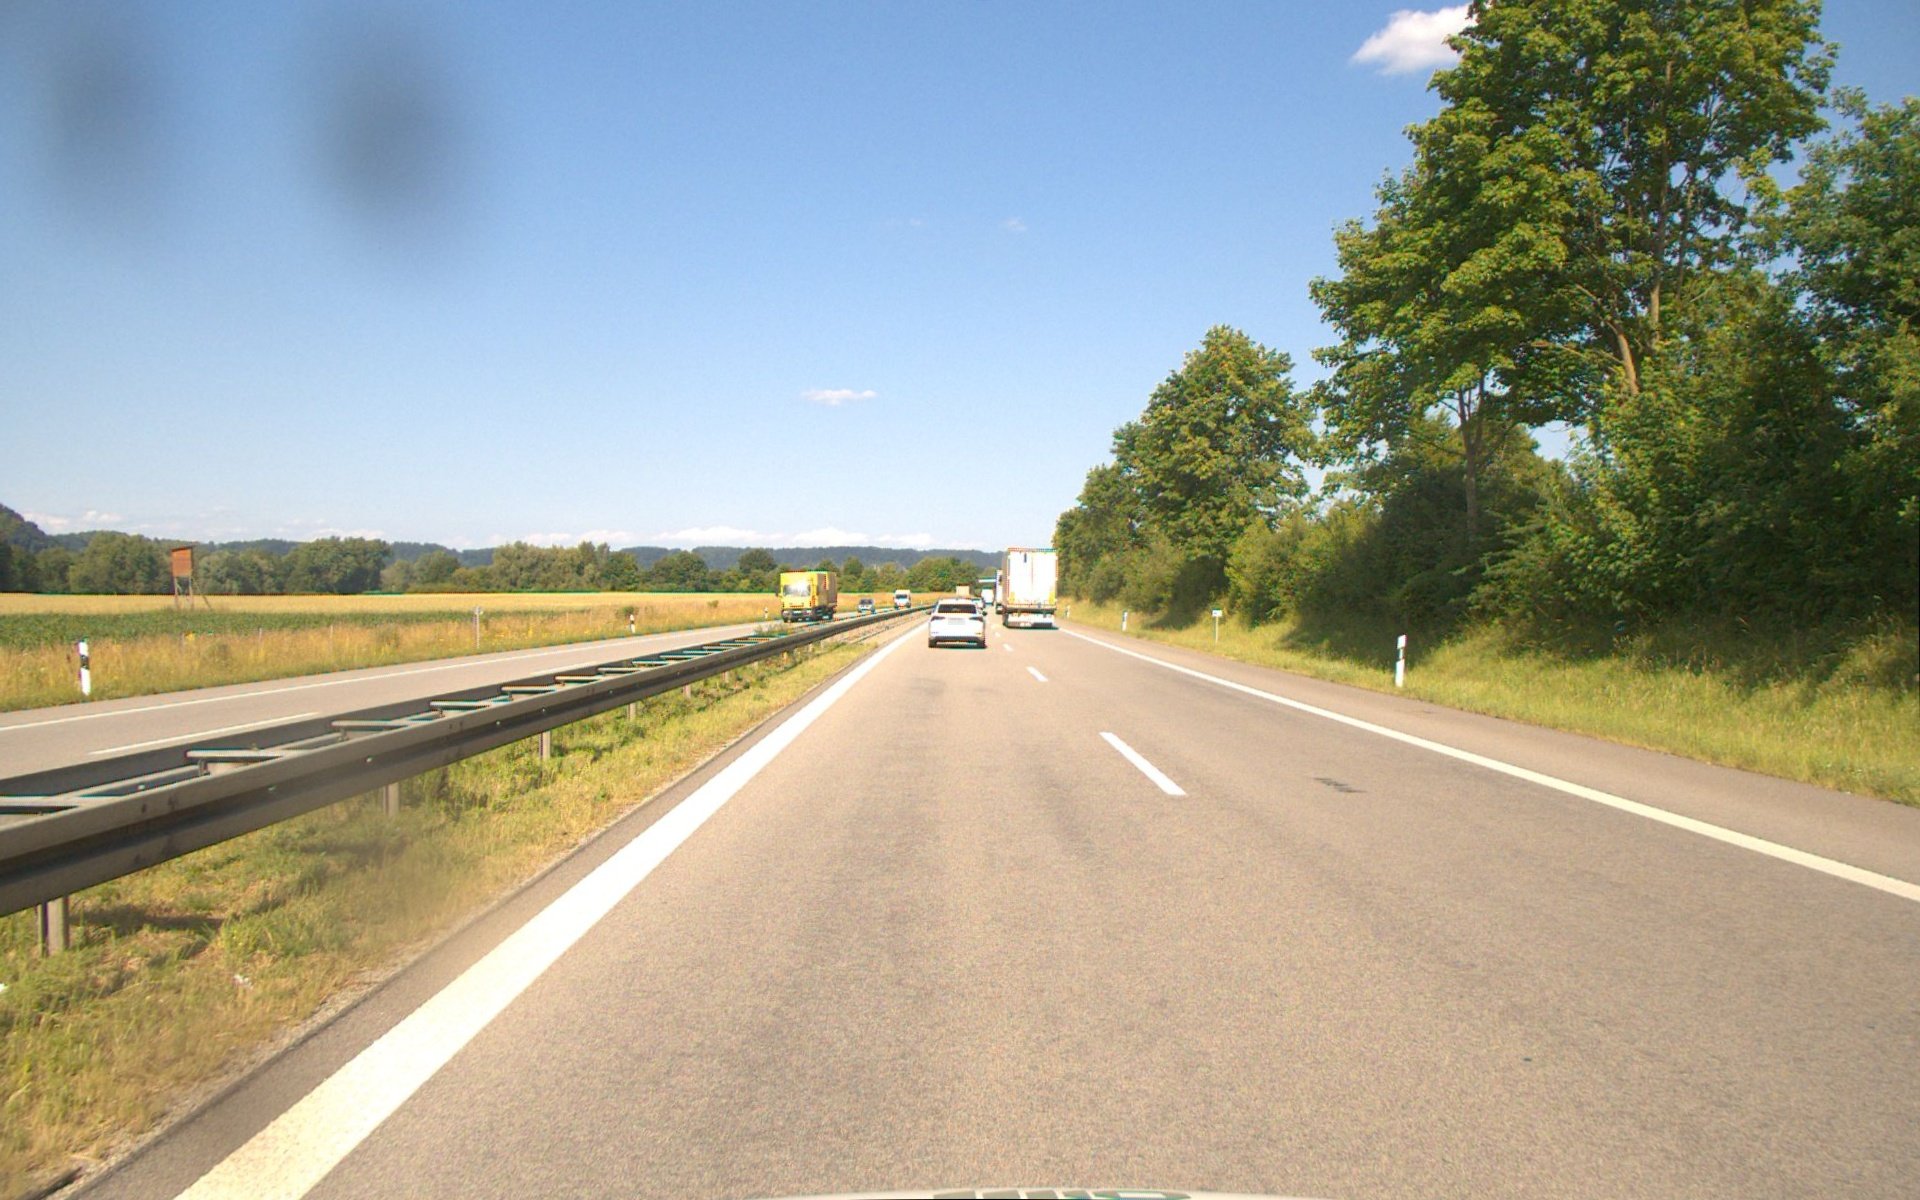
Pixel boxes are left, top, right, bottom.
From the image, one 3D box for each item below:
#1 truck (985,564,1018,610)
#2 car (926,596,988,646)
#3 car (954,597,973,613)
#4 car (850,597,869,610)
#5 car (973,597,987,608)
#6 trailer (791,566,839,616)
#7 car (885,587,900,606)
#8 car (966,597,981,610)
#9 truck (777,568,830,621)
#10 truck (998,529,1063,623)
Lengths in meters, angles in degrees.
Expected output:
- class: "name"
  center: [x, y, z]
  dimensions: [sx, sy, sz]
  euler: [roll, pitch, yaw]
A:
- class: "truck"
  center: [3.901, -1.252, 155.518]
  dimensions: [2.951, 4.187, 8.906]
  euler: [0, 0, 1]
- class: "car"
  center: [-0.141, 0.615, 51.854]
  dimensions: [1.803, 1.446, 5.253]
  euler: [1, 0, -1]
- class: "car"
  center: [0.282, 0.486, 152.681]
  dimensions: [1.735, 1.446, 4.364]
  euler: [1, 0, 0]
- class: "car"
  center: [-10.826, 0.359, 179.046]
  dimensions: [1.798, 1.400, 4.000]
  euler: [0, 0, 0]
- class: "car"
  center: [2.702, 0.324, 220.188]
  dimensions: [1.734, 1.446, 4.366]
  euler: [1, 0, 3]
- class: "trailer"
  center: [-10.885, -0.645, 124.978]
  dimensions: [2.680, 3.520, 9.232]
  euler: [-2, 0, 0]
- class: "car"
  center: [-9.260, -0.464, 228.123]
  dimensions: [1.885, 2.519, 5.185]
  euler: [0, 0, 0]
- class: "car"
  center: [1.589, 0.386, 197.315]
  dimensions: [1.735, 1.446, 4.364]
  euler: [1, 0, 0]
- class: "truck"
  center: [-10.884, -0.369, 115.705]
  dimensions: [2.680, 3.442, 9.232]
  euler: [-3, 0, 0]
- class: "truck"
  center: [3.644, -1.237, 87.884]
  dimensions: [3.087, 4.693, 8.905]
  euler: [0, 0, 0]
